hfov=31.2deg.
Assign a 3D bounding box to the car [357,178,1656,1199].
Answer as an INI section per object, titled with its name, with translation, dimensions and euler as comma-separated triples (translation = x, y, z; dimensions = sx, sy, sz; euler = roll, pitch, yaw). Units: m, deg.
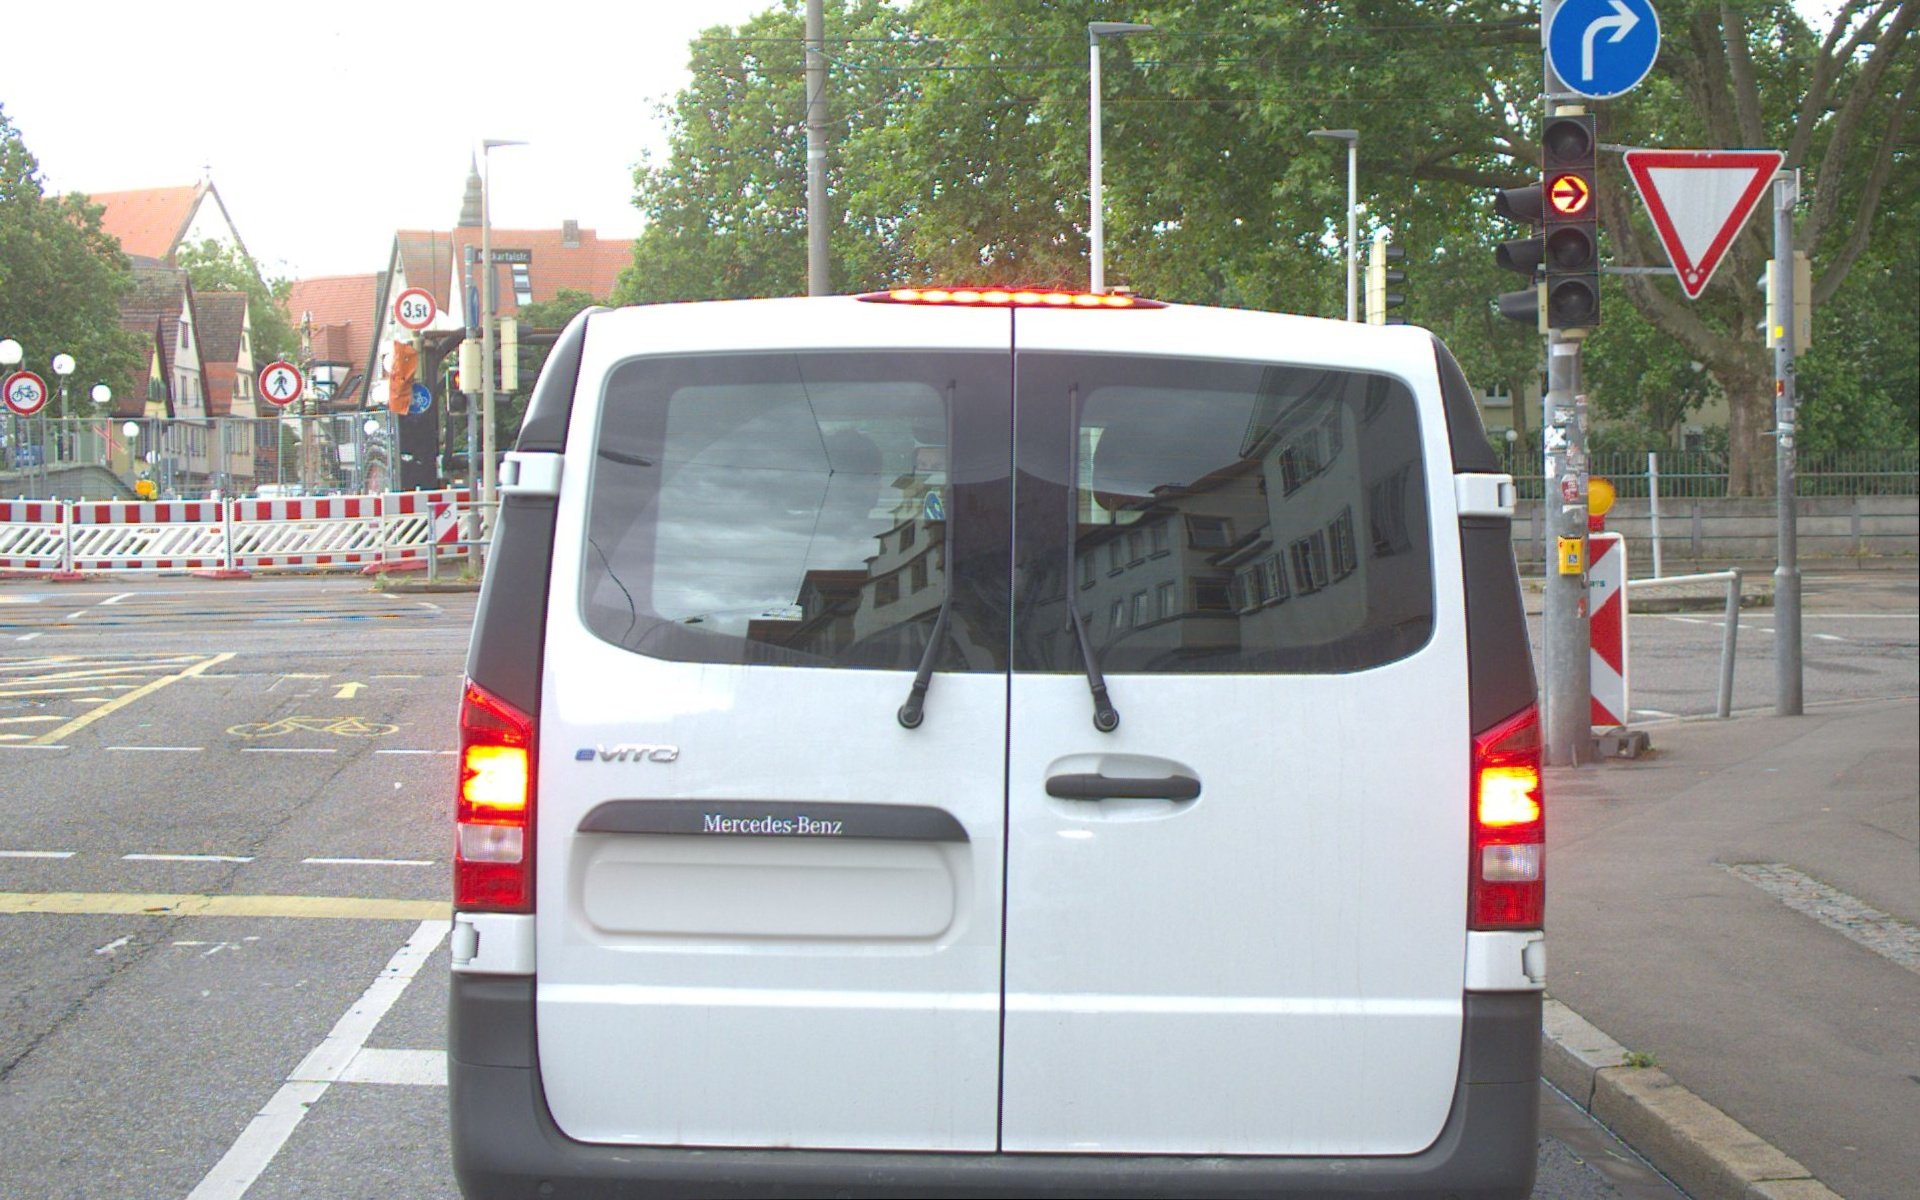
[car]
translation = 0.038, 0.280, 7.576
dimensions = 1.951, 2.006, 4.699
euler = 1, 2, -1
